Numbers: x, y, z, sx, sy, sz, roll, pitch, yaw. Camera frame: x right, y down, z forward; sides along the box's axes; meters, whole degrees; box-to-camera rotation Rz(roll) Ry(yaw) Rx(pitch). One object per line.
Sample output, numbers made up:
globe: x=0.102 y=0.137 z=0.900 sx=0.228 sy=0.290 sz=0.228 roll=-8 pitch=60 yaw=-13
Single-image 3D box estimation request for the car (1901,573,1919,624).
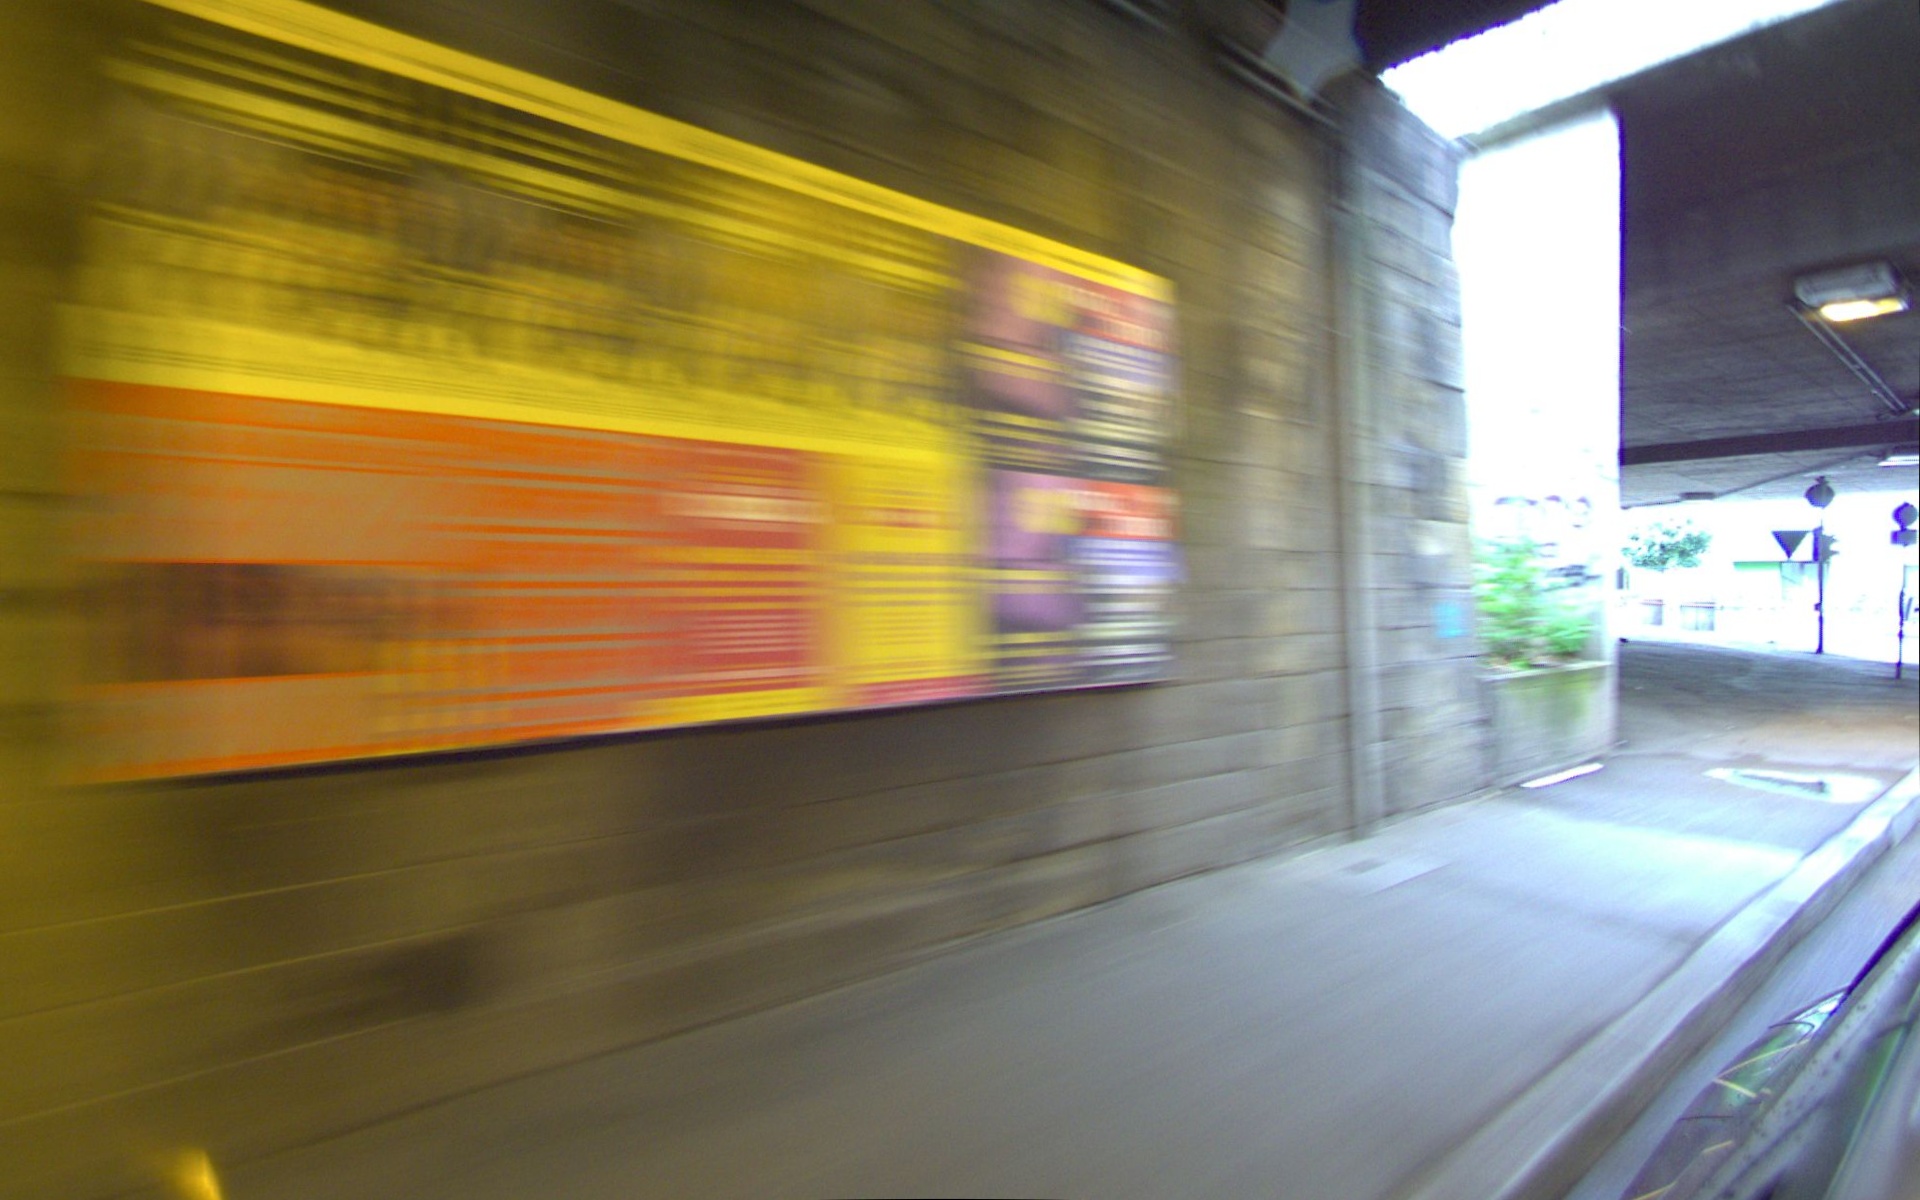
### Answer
car: x=31.395 y=-0.014 z=30.437 sx=1.732 sy=1.599 sz=4.244 roll=-2 pitch=2 yaw=-15
